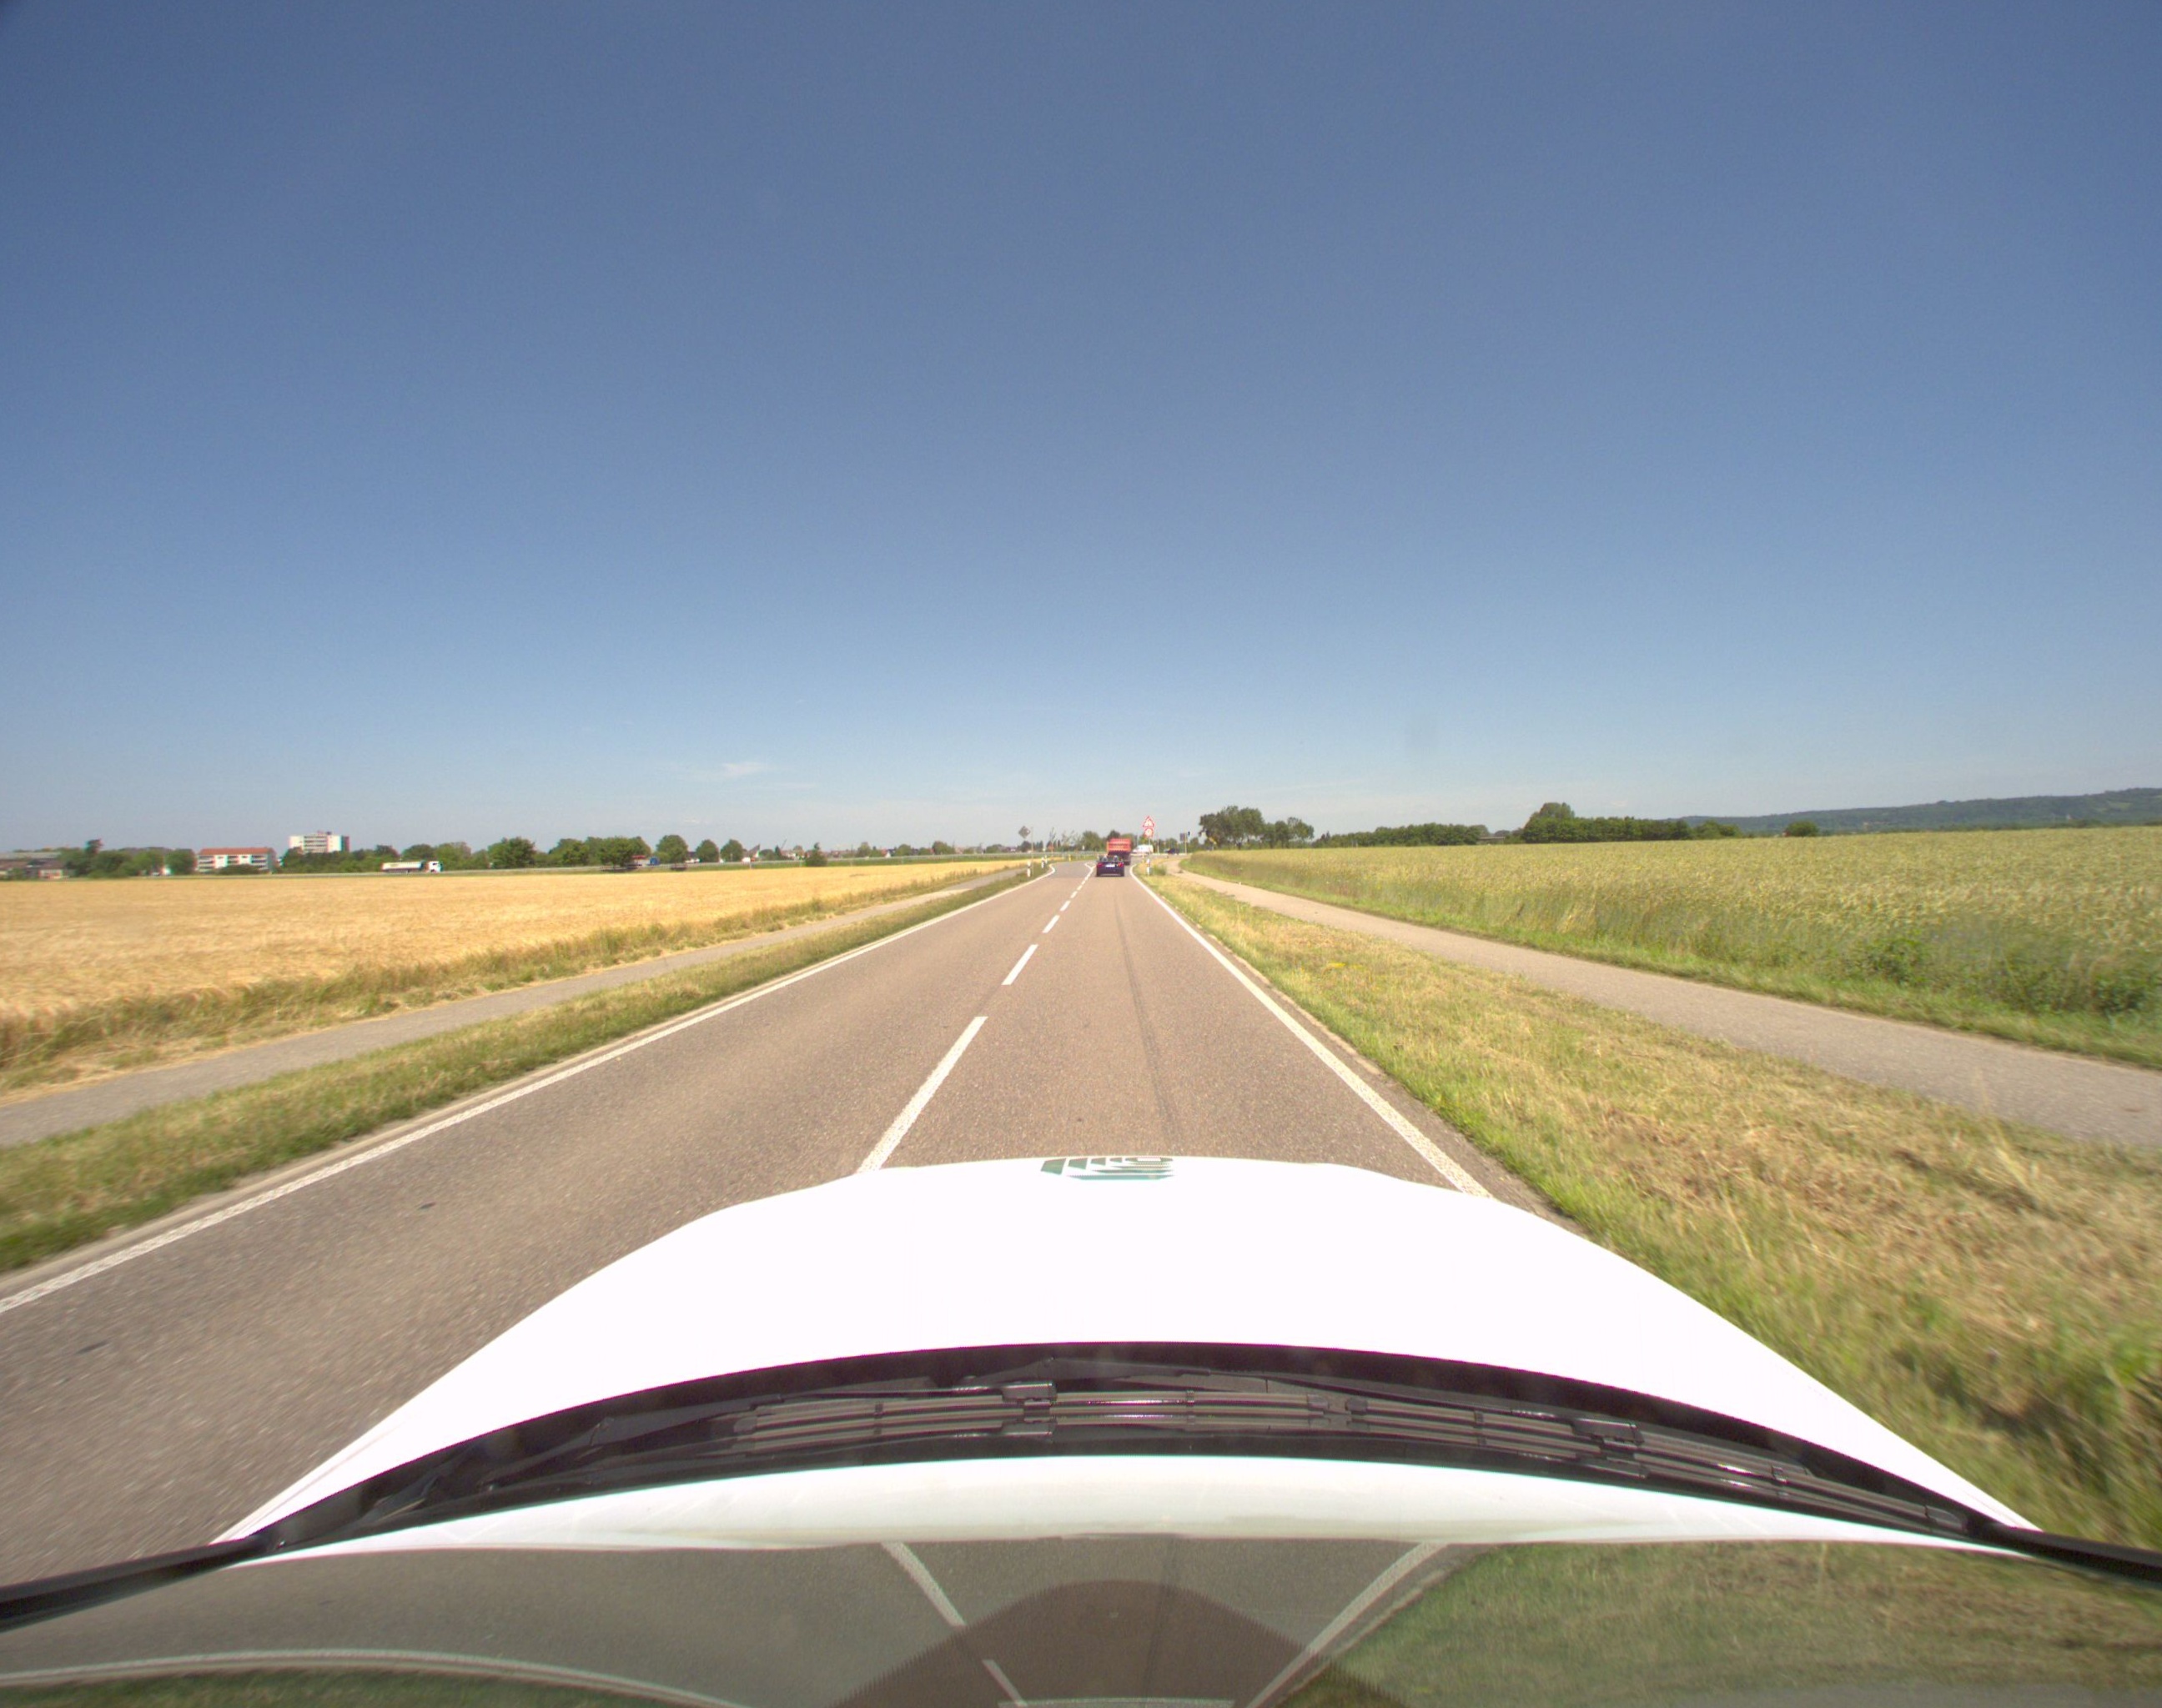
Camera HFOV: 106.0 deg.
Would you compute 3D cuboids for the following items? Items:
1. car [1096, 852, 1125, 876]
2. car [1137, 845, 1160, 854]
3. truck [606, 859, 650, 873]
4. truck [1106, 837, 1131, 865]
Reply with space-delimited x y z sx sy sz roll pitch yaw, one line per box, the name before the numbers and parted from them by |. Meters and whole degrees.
car | 1.819 0.631 51.036 1.741 1.376 3.680 1 -1 2
car | 18.864 -1.319 227.967 5.860 2.421 2.262 0 0 32
truck | -123.913 3.255 222.835 10.098 3.793 2.612 -1 0 -15
truck | 4.229 -0.238 93.768 2.704 3.053 8.167 0 -1 2
